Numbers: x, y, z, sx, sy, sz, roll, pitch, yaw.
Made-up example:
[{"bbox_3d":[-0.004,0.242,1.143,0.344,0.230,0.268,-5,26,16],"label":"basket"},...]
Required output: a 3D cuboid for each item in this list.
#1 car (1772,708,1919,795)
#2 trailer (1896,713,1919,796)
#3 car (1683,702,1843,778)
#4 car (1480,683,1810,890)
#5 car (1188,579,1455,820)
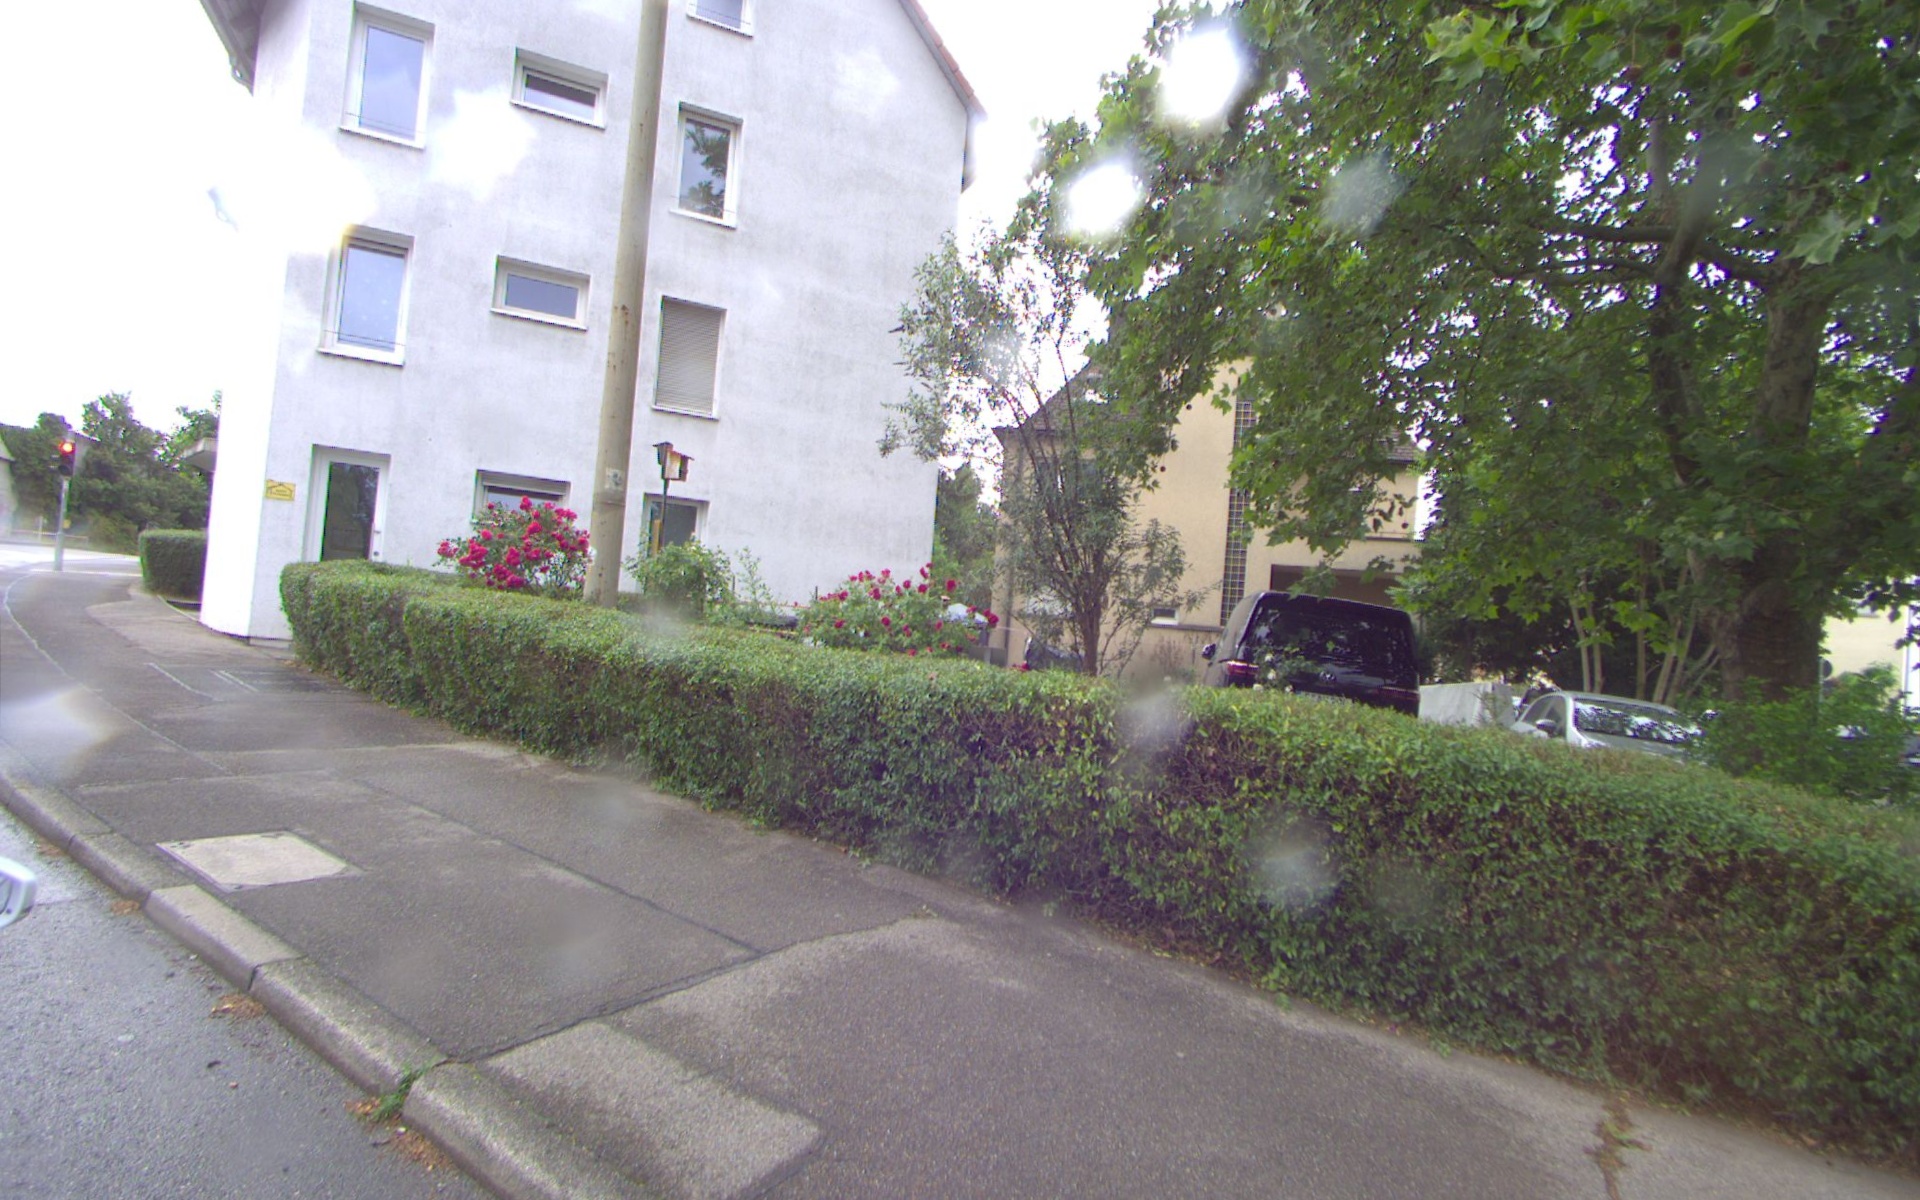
[{"bbox_3d":[25.258,4.203,27.996,1.962,1.861,4.584,6,-1,9],"label":"car"},{"bbox_3d":[24.714,3.915,23.982,1.640,2.037,3.494,6,-1,8],"label":"trailer"},{"bbox_3d":[26.343,4.543,33.241,1.962,1.861,4.584,6,-1,9],"label":"car"},{"bbox_3d":[7.379,1.877,11.356,1.788,1.599,4.003,6,-2,16],"label":"car"},{"bbox_3d":[3.750,0.989,11.312,1.962,1.955,4.419,6,-1,11],"label":"car"}]
